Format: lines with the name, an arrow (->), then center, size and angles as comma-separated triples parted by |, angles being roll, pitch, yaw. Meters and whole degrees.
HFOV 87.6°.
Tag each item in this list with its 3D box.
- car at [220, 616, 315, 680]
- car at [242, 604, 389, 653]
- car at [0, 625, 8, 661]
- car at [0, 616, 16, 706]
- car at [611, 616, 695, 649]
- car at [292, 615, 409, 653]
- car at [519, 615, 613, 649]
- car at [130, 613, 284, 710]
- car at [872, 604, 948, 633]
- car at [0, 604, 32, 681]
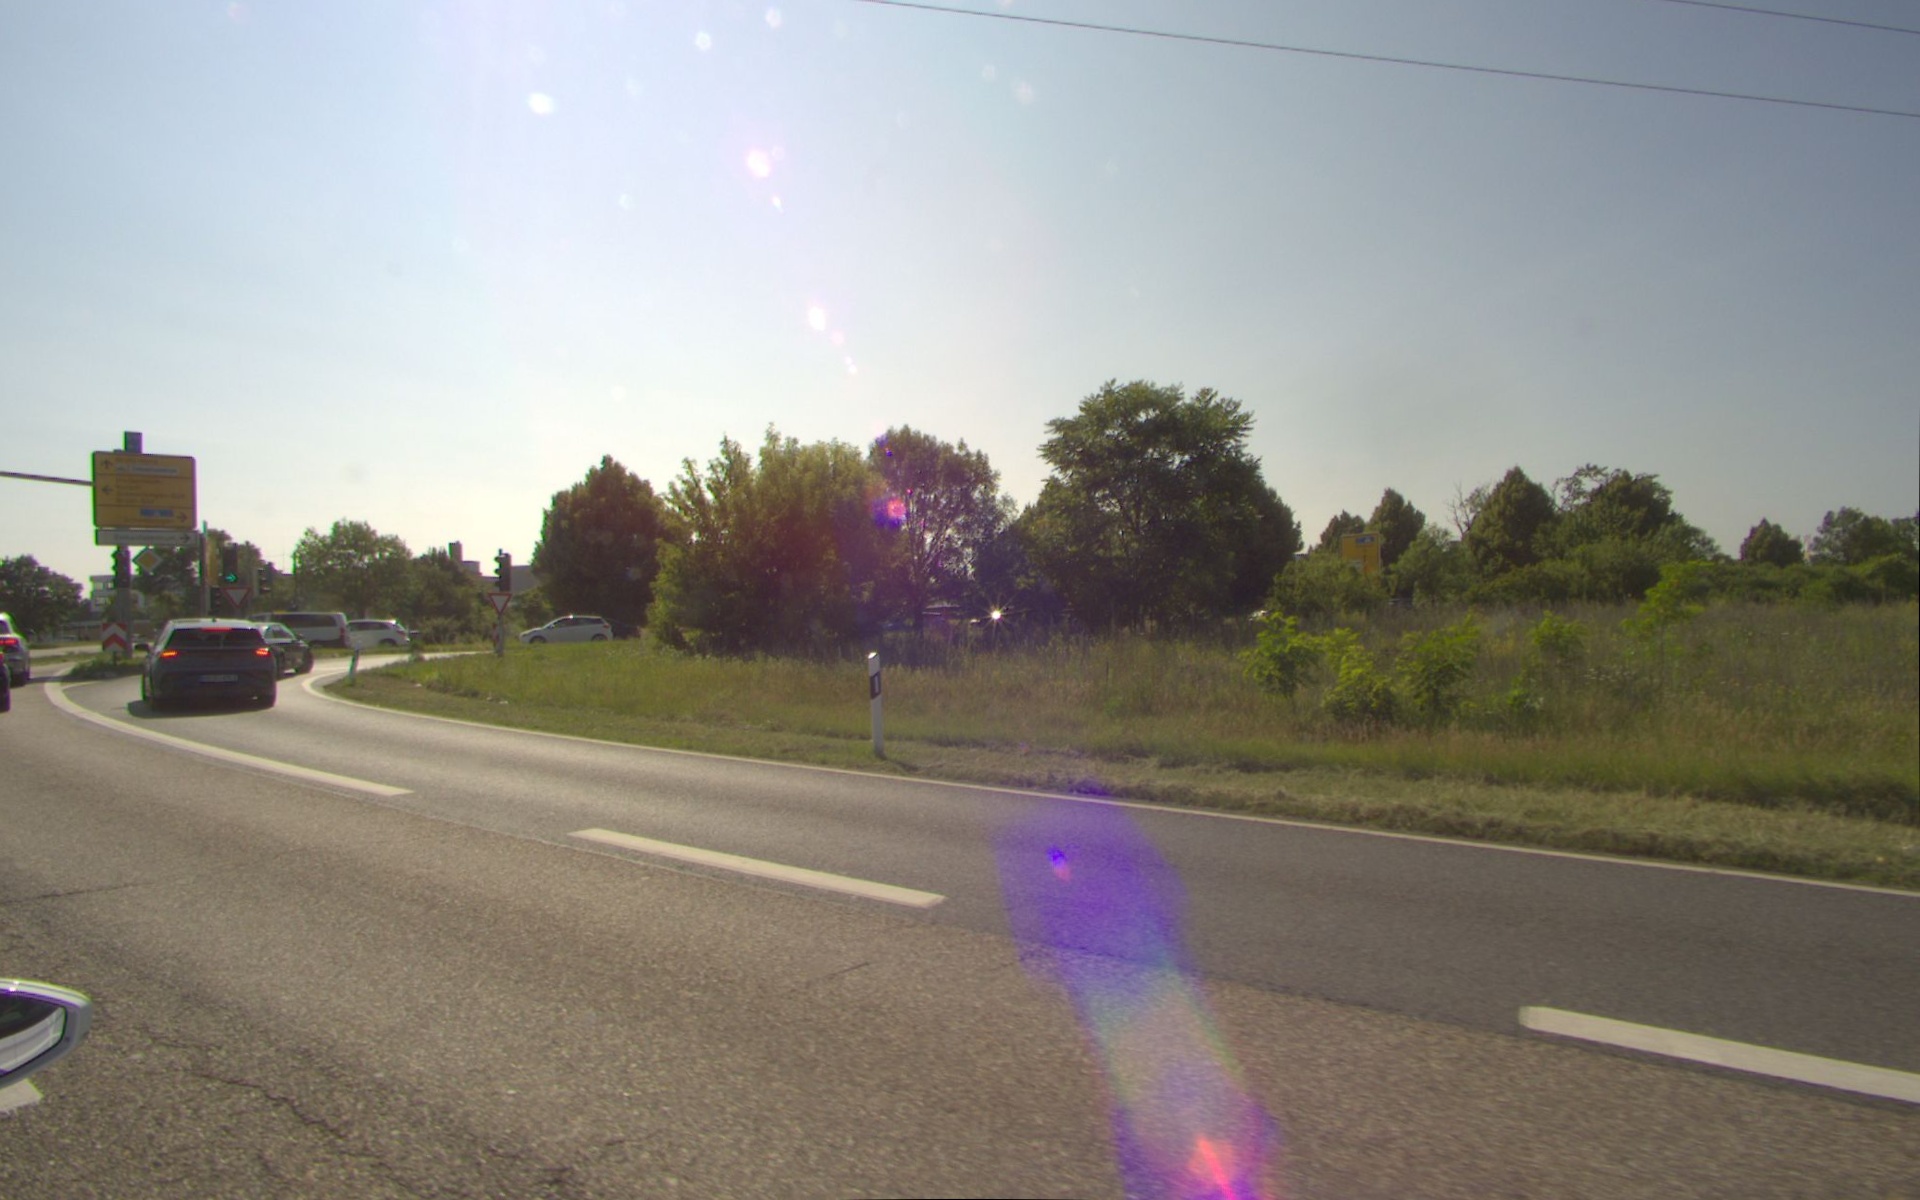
car -> -17.331, 1.145, 25.192 | 1.623, 1.404, 3.978 | -1, 0, -30
car -> -26.634, 1.199, 41.579 | 4.870, 1.943, 1.993 | 1, -1, -25
car -> -40.562, 1.743, 39.478 | 4.037, 1.434, 1.711 | 0, -1, -24
car -> -17.243, 1.012, 17.082 | 1.622, 1.467, 3.263 | 1, -2, -43
car -> -15.321, 1.614, 50.025 | 3.818, 1.539, 1.801 | -1, 0, -25
car -> -27.202, 1.492, 44.863 | 4.266, 1.539, 1.801 | -1, 0, -25
car -> -17.655, 1.416, 44.965 | 3.848, 1.484, 1.718 | 0, -1, -23
car -> -13.895, 1.026, 18.385 | 1.761, 1.537, 4.058 | -1, 0, -44
car -> -2.795, 1.009, 55.485 | 3.818, 1.539, 1.802 | -1, 0, -24
car -> -22.655, 0.976, 23.229 | 1.622, 1.698, 3.714 | 1, -2, -43
